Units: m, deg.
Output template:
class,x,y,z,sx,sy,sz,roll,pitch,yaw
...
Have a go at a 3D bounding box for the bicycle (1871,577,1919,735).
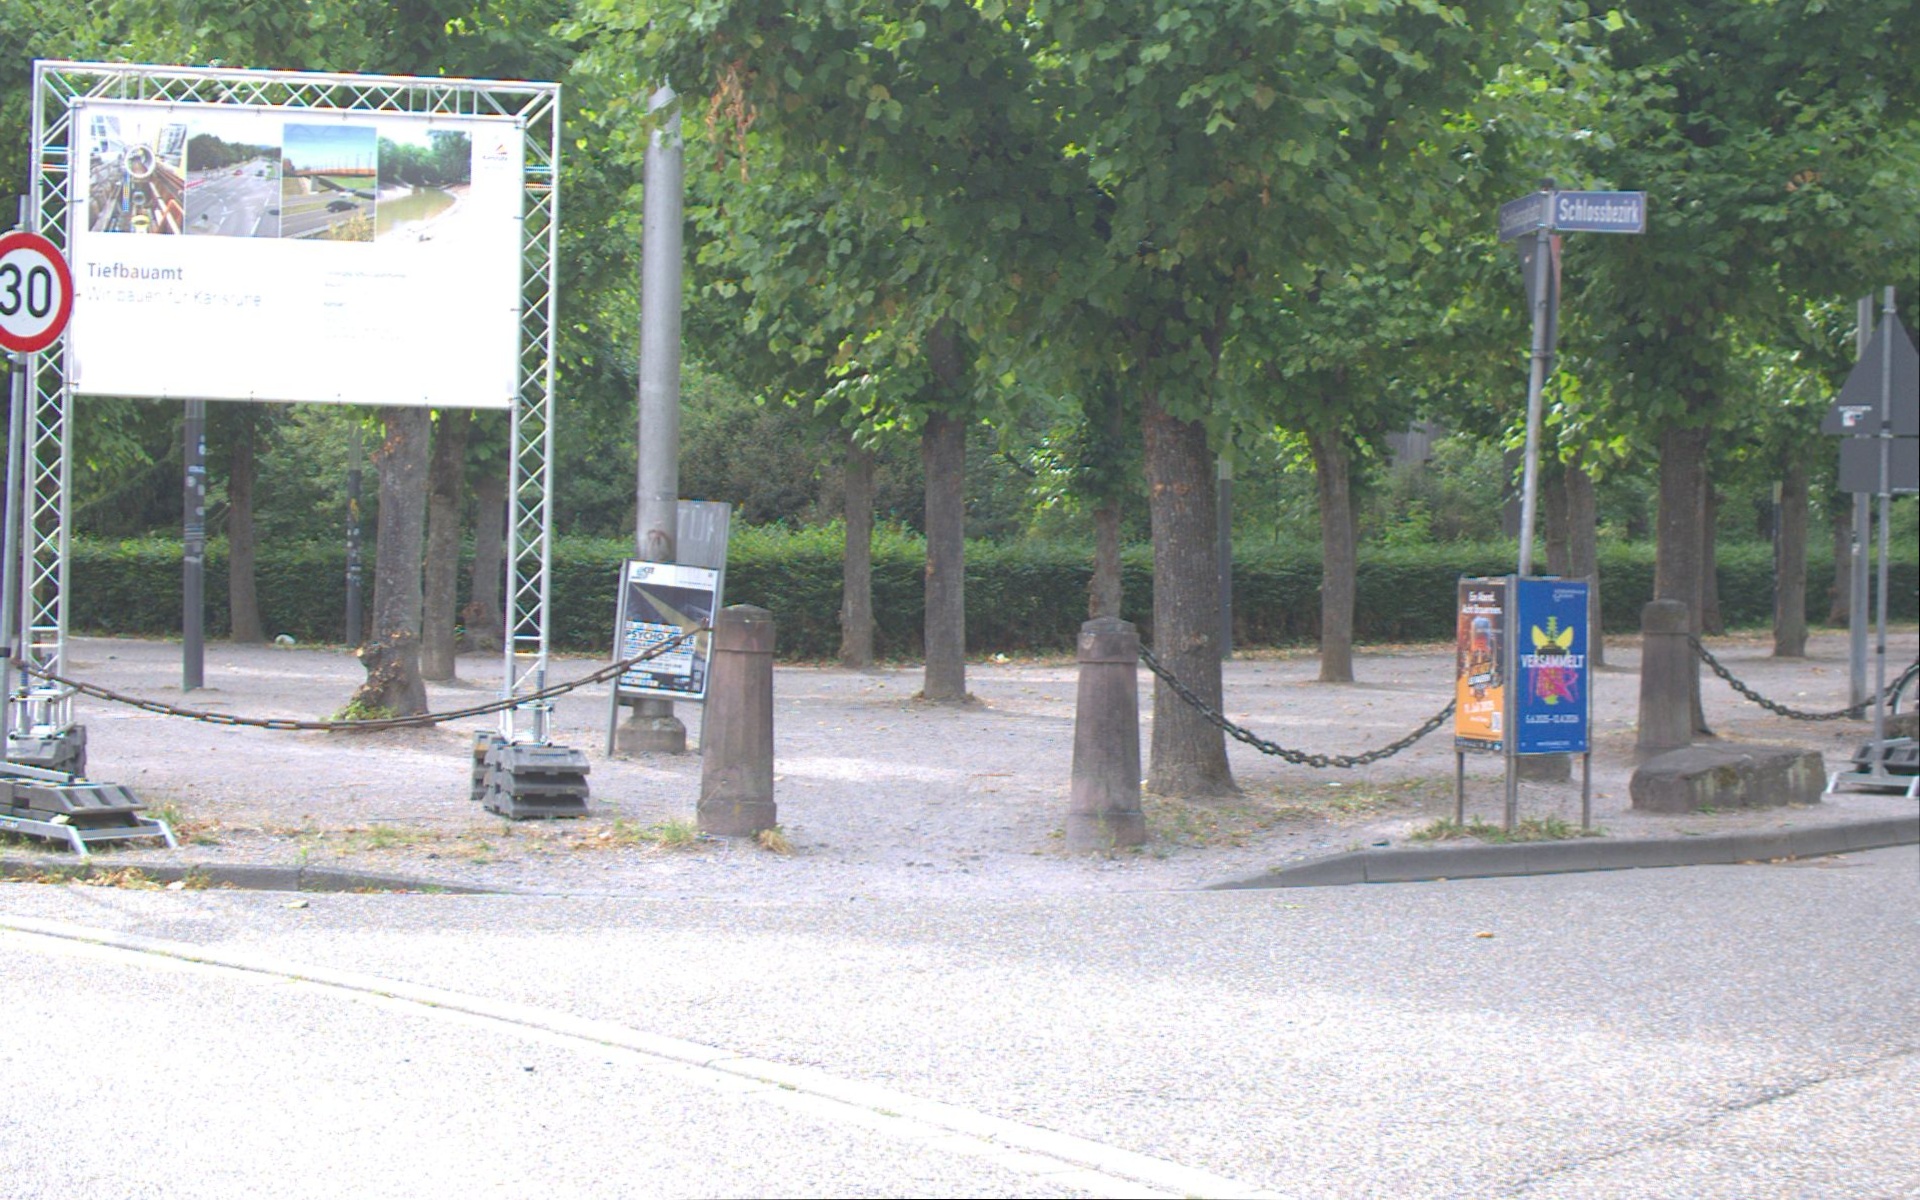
class,x,y,z,sx,sy,sz,roll,pitch,yaw
bicycle,7.664,0.422,26.783,0.953,1.106,2.577,2,2,17
